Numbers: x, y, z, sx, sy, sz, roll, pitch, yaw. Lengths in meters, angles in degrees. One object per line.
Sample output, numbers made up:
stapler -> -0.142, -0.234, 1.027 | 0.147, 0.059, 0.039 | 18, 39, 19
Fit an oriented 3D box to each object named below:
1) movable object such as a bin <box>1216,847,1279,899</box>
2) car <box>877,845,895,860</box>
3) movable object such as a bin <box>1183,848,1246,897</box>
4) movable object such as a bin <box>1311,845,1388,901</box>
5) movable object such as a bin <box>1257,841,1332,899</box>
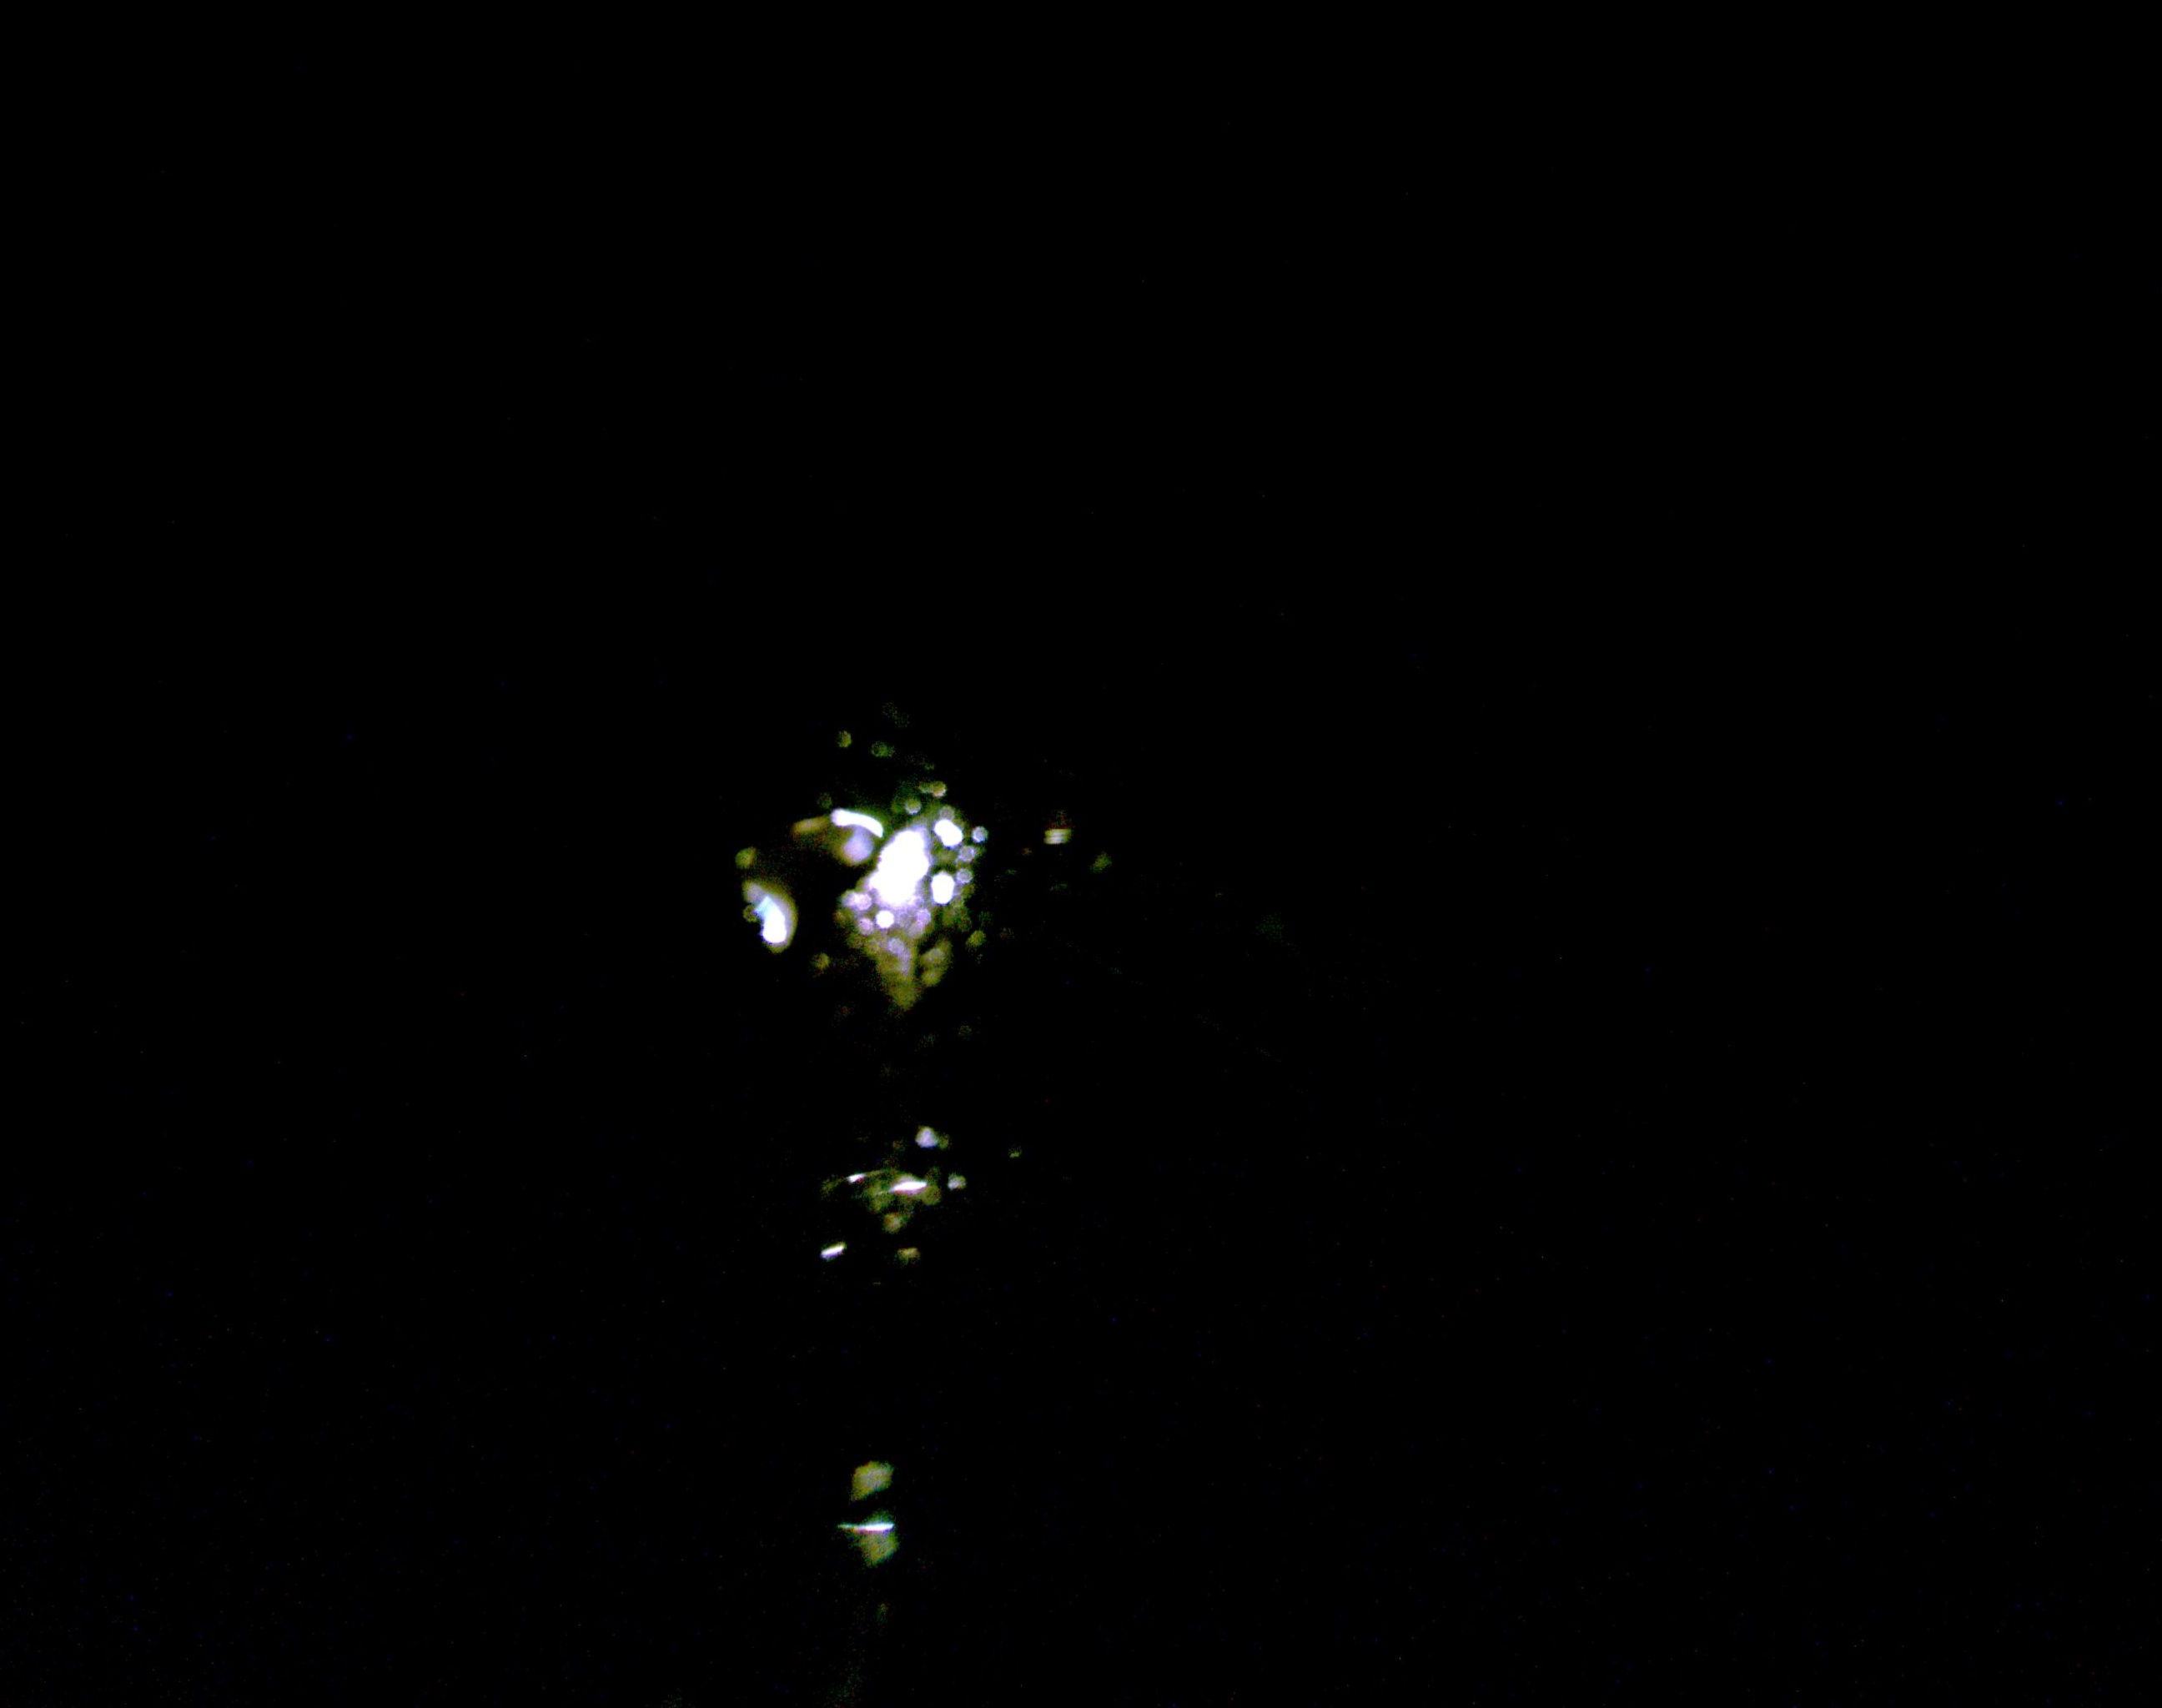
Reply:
movable object such as a bin -> 4.567, 0.511, 22.333 | 1.217, 1.325, 1.160 | -2, 1, 44
car -> -23.874, -0.238, 99.606 | 1.890, 1.671, 3.985 | -4, 2, -11
movable object such as a bin -> 3.850, 0.523, 23.533 | 1.305, 1.309, 1.184 | -2, 2, 41
movable object such as a bin -> 6.656, 0.475, 20.199 | 1.258, 1.299, 1.302 | -3, -1, -41
movable object such as a bin -> 5.610, 0.432, 21.407 | 1.258, 1.413, 1.375 | -3, -1, -41
